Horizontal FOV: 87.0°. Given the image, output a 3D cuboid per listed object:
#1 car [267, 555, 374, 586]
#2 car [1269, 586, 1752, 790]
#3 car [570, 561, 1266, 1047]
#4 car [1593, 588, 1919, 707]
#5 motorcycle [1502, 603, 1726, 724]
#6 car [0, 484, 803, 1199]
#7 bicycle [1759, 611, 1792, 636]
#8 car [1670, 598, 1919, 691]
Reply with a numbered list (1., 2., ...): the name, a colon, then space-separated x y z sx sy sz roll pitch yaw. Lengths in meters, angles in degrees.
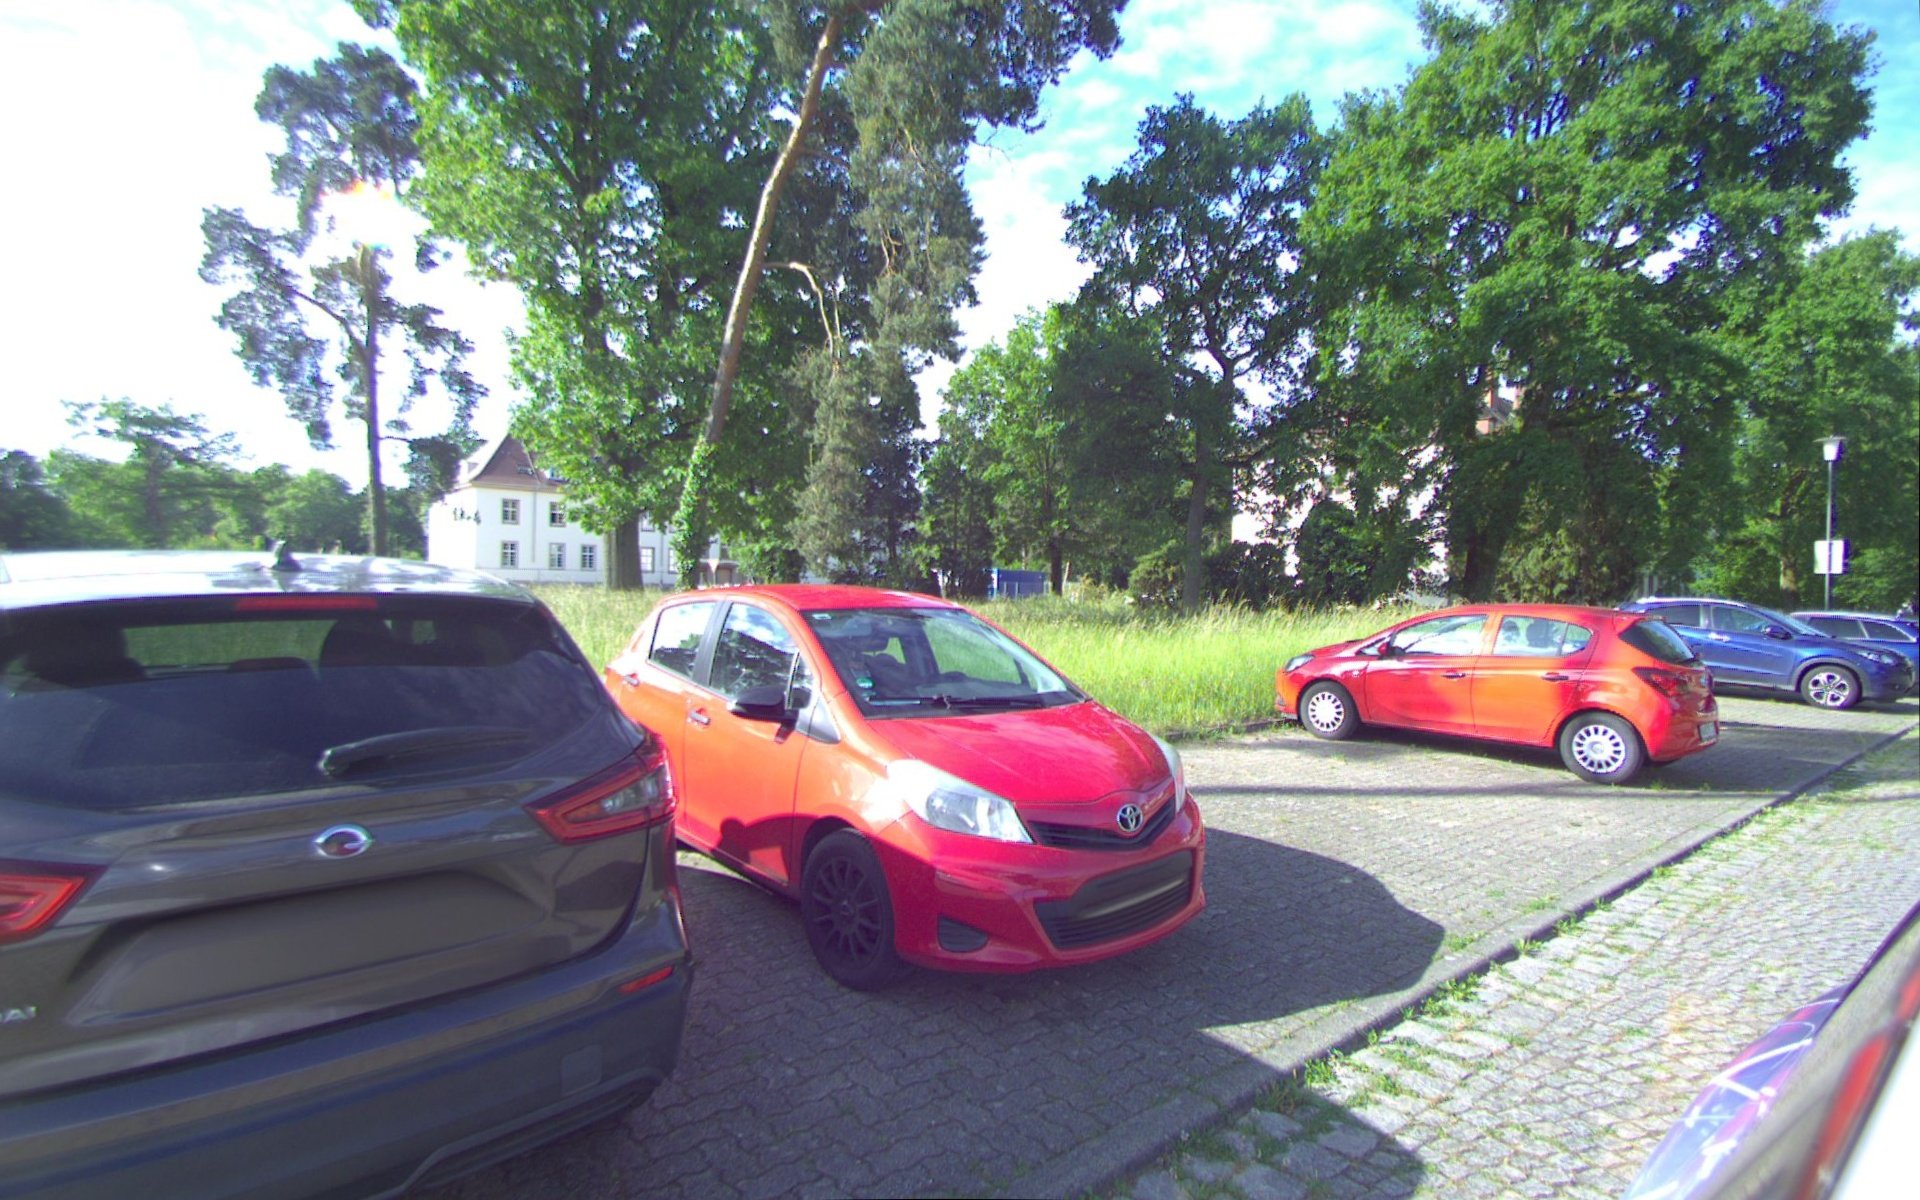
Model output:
1. car: -44.945 -2.060 71.238 5.891 2.198 2.380 0 1 -8
2. car: 5.201 0.679 9.957 1.617 1.497 3.834 1 2 -41
3. car: -0.537 0.607 5.201 1.616 1.549 3.771 1 1 -40
4. car: 12.956 0.665 16.452 1.720 1.611 4.185 1 1 -40
5. motorcycle: 8.396 0.763 13.102 0.713 1.336 2.304 1 2 -40
6. car: -2.326 0.605 3.285 1.741 1.642 3.943 1 1 -41
7. bicycle: 34.040 0.981 42.221 1.231 1.029 0.711 1 1 -33
8. car: 16.520 0.800 19.377 1.682 1.425 4.463 1 2 -37
